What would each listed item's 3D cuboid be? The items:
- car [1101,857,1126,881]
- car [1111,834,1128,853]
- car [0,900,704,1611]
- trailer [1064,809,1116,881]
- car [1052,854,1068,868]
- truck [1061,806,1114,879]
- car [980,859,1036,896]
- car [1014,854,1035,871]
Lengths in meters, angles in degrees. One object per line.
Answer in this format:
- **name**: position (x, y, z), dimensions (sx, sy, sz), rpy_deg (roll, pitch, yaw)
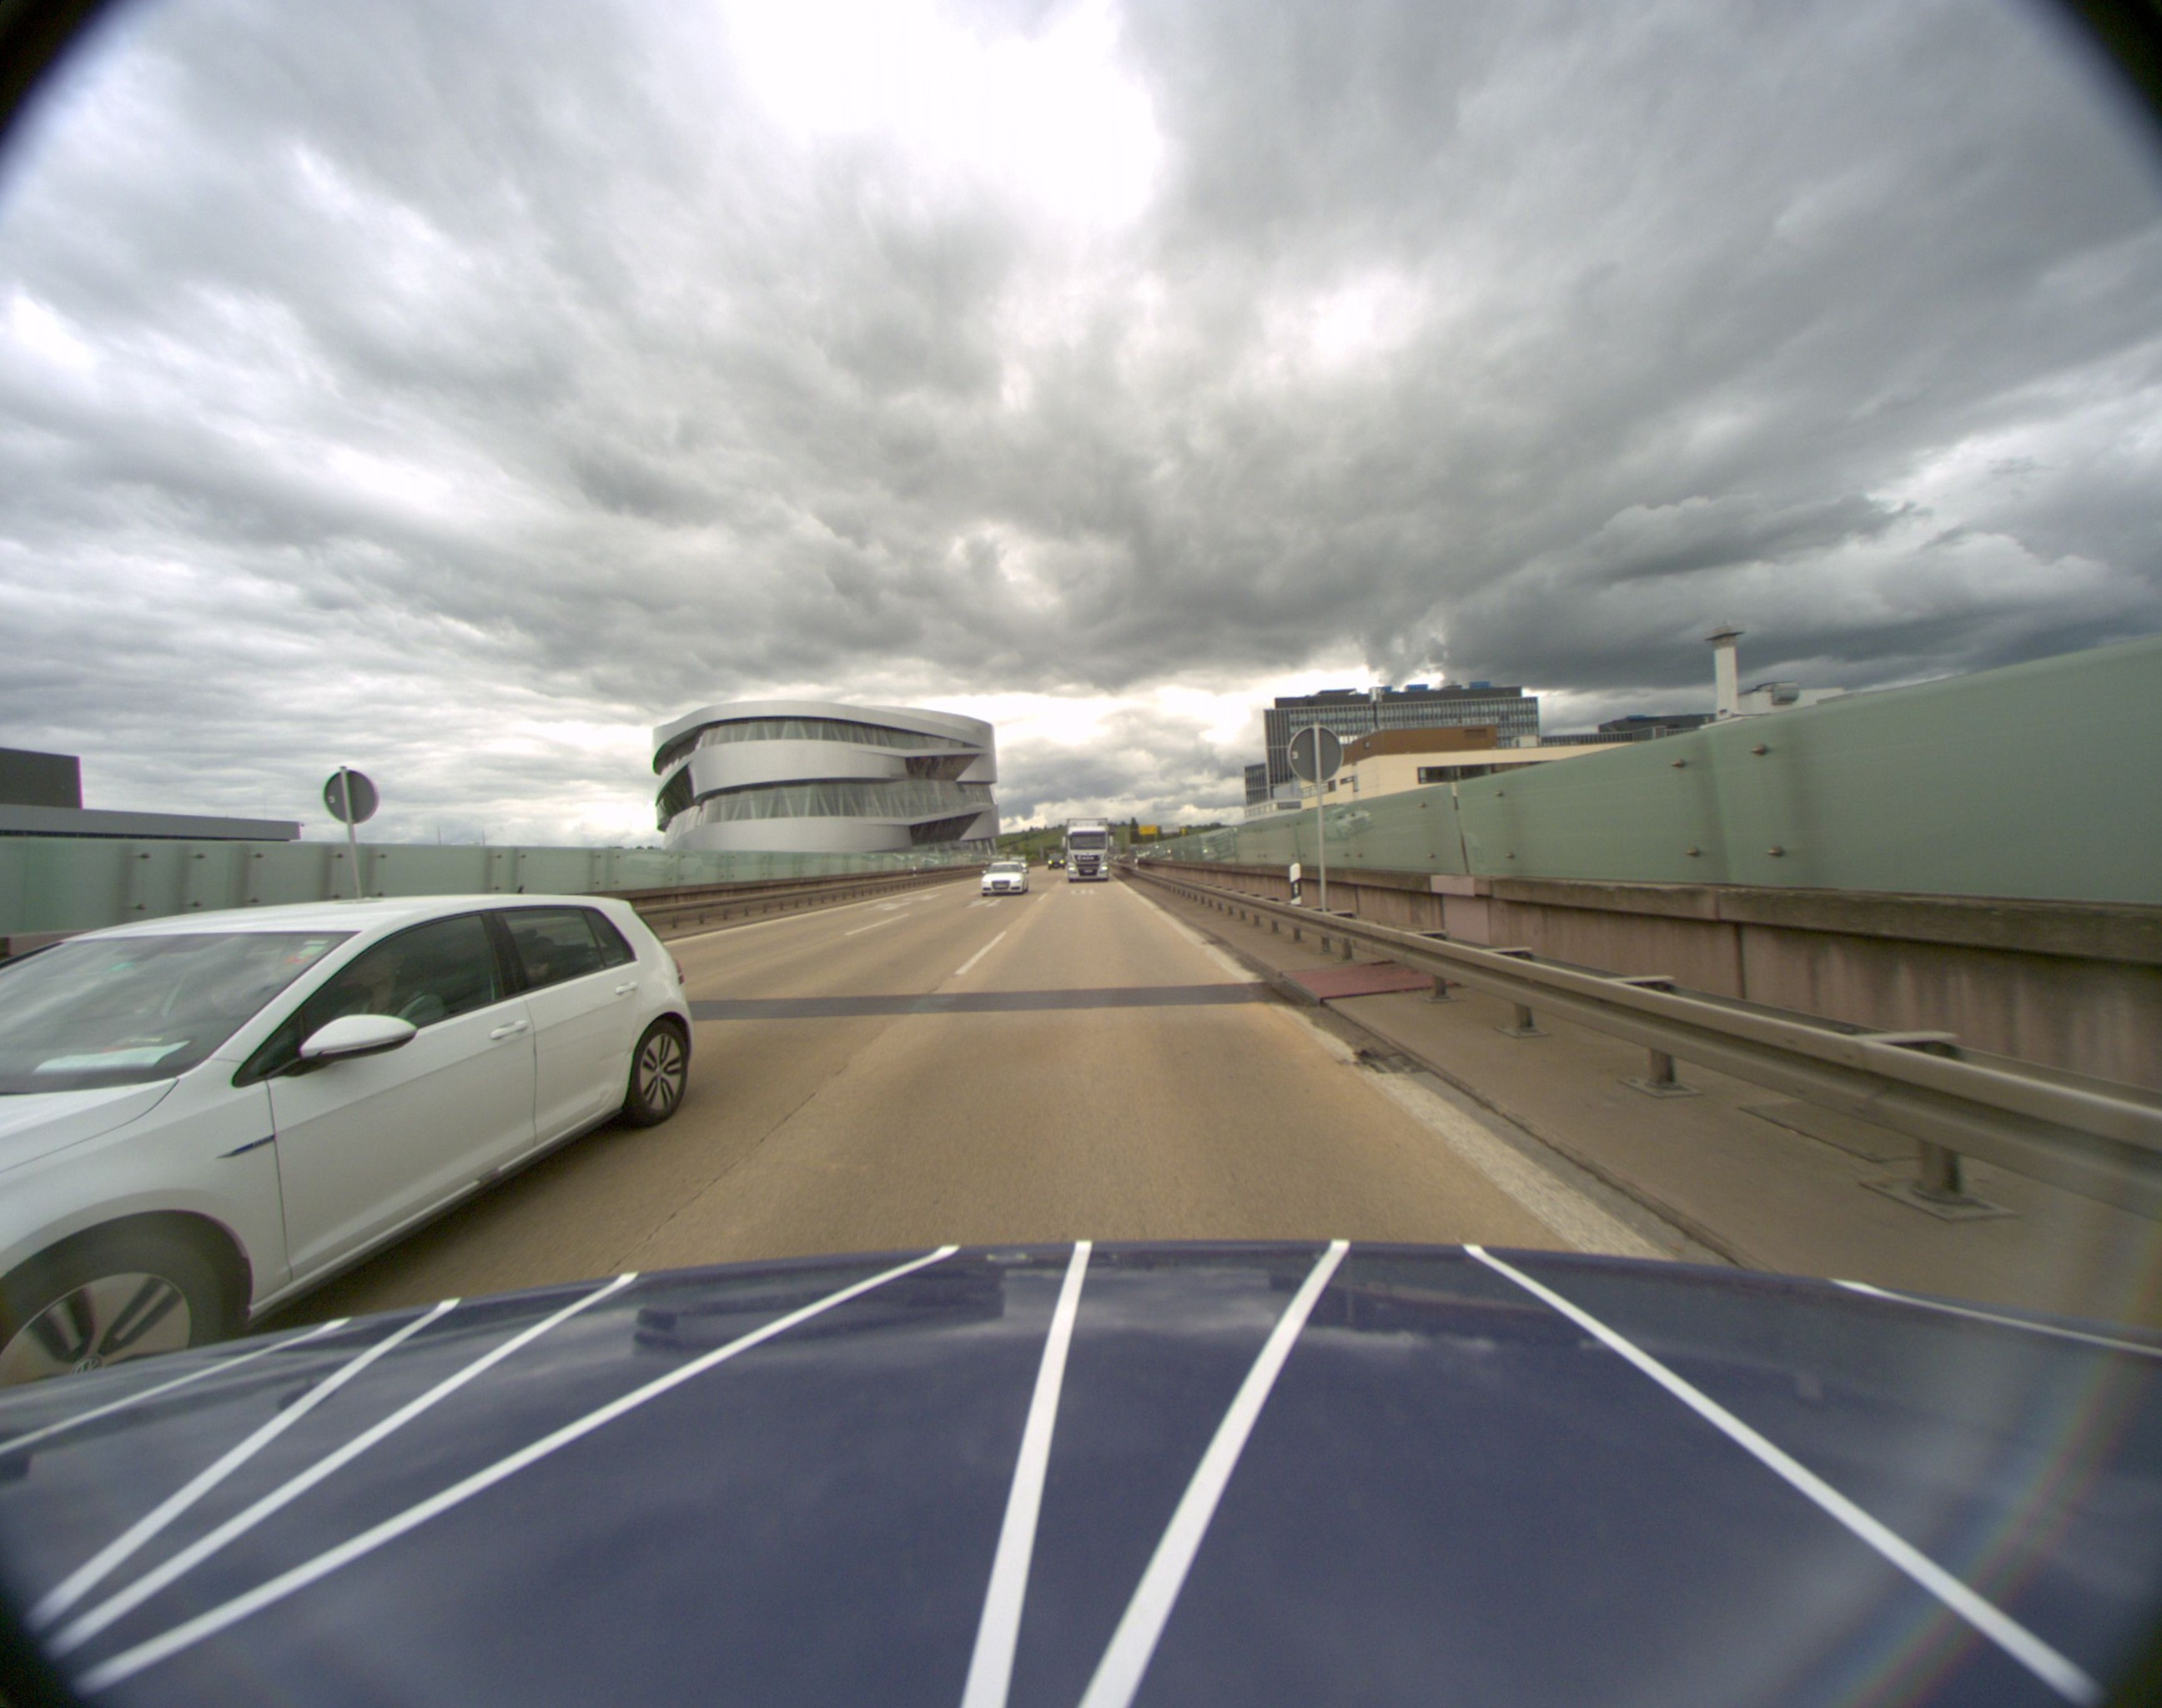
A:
- **car**: position (2.964, 1.358, 69.953), dimensions (1.998, 2.002, 4.000), rpy_deg (-2, 0, 0)
- **car**: position (5.318, -1.402, 104.732), dimensions (2.144, 2.494, 4.524), rpy_deg (-2, 0, 1)
- **car**: position (-3.368, 1.038, 2.927), dimensions (1.759, 1.443, 4.072), rpy_deg (-2, 0, 0)
- **trailer**: position (0.727, -0.543, 50.039), dimensions (2.879, 4.104, 11.221), rpy_deg (-2, 0, 2)
- **car**: position (-2.605, 0.812, 94.114), dimensions (1.765, 1.624, 3.628), rpy_deg (-2, 0, 1)
- **truck**: position (0.535, -0.677, 47.523), dimensions (2.946, 4.136, 6.292), rpy_deg (-2, 0, 3)
- **car**: position (-3.168, 1.002, 33.641), dimensions (1.848, 1.443, 3.933), rpy_deg (-2, 0, 3)
- **car**: position (-5.664, 0.825, 76.602), dimensions (1.785, 1.624, 3.628), rpy_deg (-2, 0, 1)
